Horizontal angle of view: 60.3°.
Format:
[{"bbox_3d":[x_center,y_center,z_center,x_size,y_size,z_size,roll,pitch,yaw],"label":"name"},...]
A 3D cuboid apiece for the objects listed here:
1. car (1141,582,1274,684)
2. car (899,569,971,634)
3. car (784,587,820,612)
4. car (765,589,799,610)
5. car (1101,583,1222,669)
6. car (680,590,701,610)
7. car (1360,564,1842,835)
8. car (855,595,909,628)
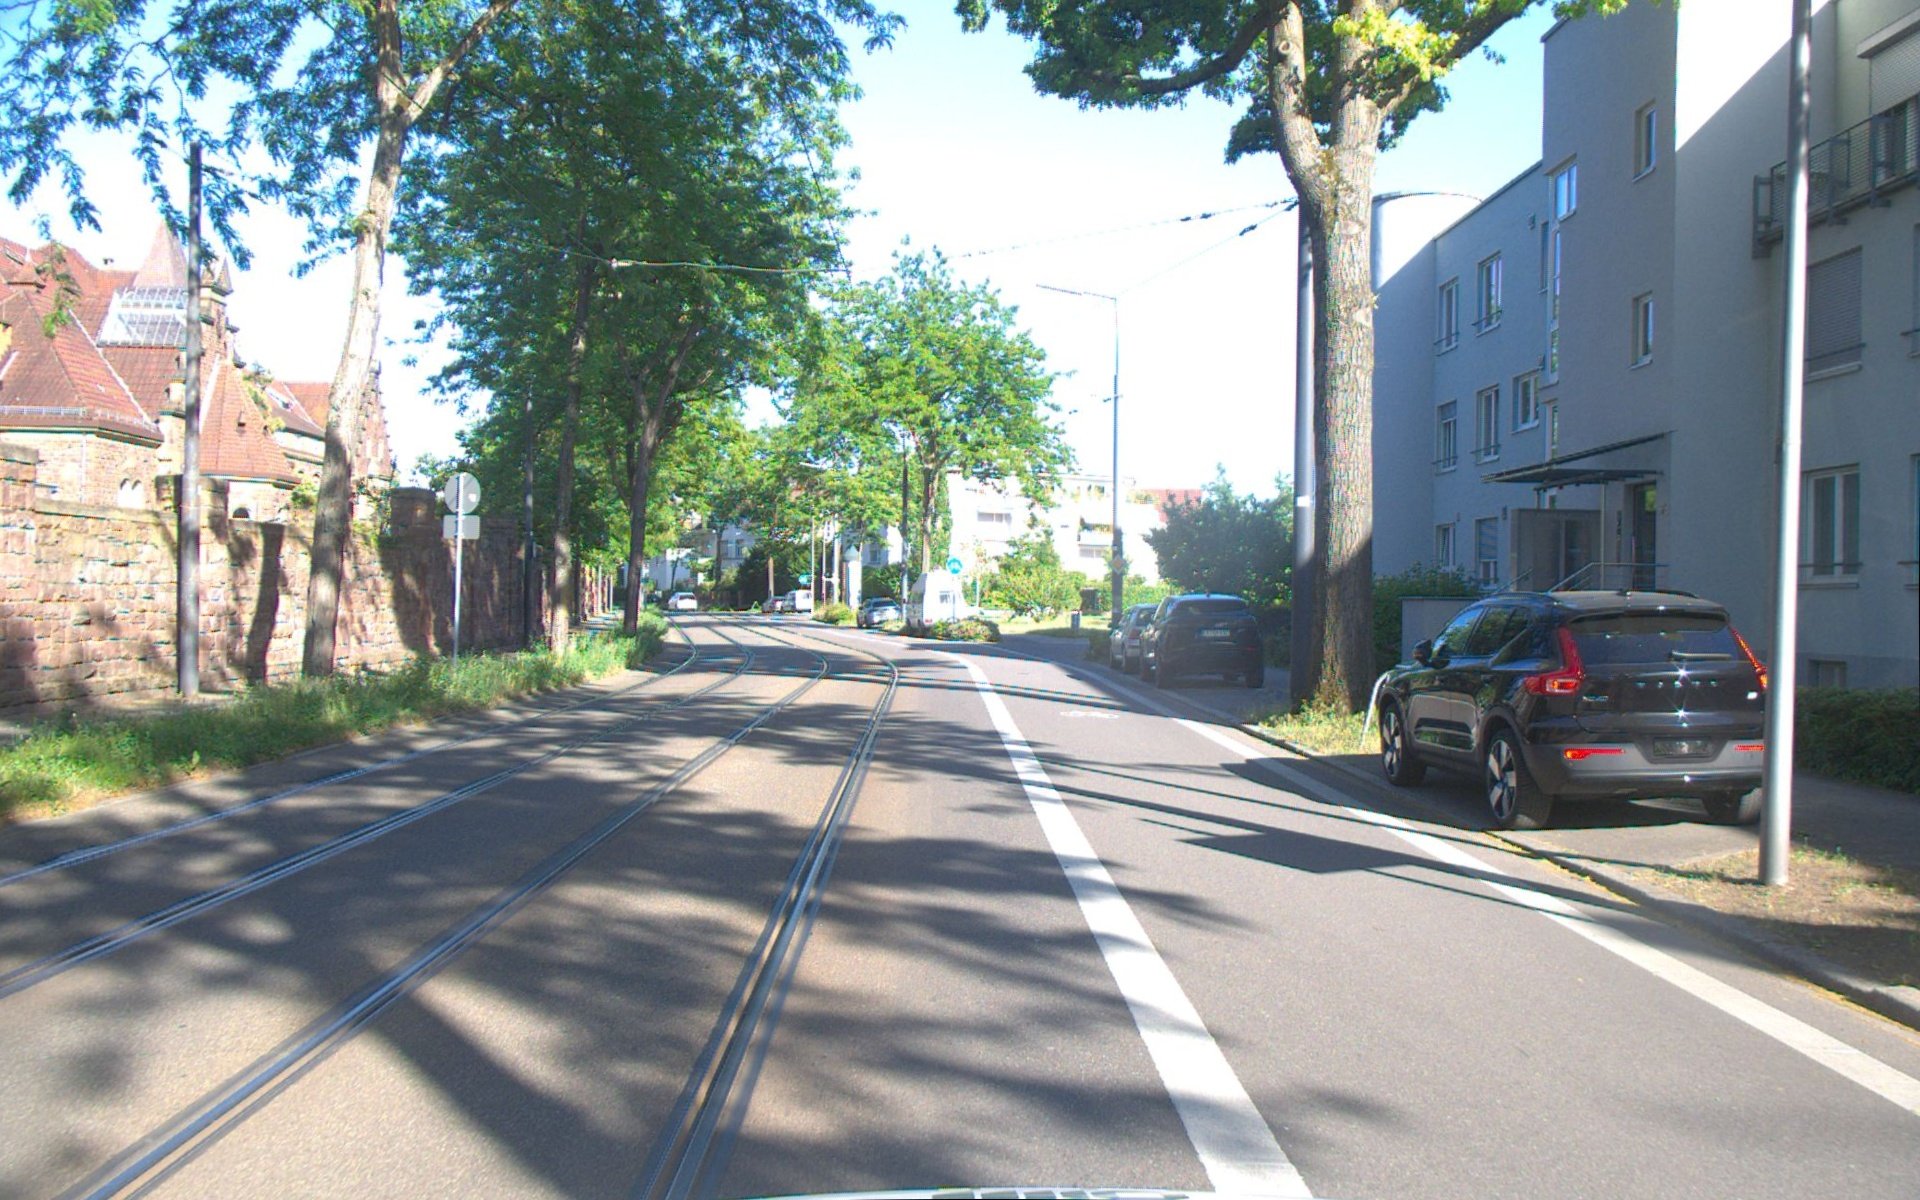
[{"bbox_3d":[4.458,0.550,30.418,1.961,1.704,4.394,-1,0,3],"label":"car"},{"bbox_3d":[-1.037,0.060,66.277,1.960,2.501,4.493,0,0,-14],"label":"car"},{"bbox_3d":[-12.773,-0.006,133.616,1.972,1.943,4.369,-2,0,-18],"label":"car"},{"bbox_3d":[-15.027,-0.006,139.454,1.972,1.704,4.151,-2,0,-18],"label":"car"},{"bbox_3d":[4.306,0.524,36.051,1.962,1.704,4.391,-1,0,-2],"label":"car"},{"bbox_3d":[-23.581,0.015,144.793,1.832,1.704,4.164,0,0,-9],"label":"car"},{"bbox_3d":[4.706,0.635,12.950,1.962,1.704,4.391,-1,0,-1],"label":"car"},{"bbox_3d":[-3.999,0.566,83.933,1.968,1.588,4.377,0,0,-13],"label":"car"}]
